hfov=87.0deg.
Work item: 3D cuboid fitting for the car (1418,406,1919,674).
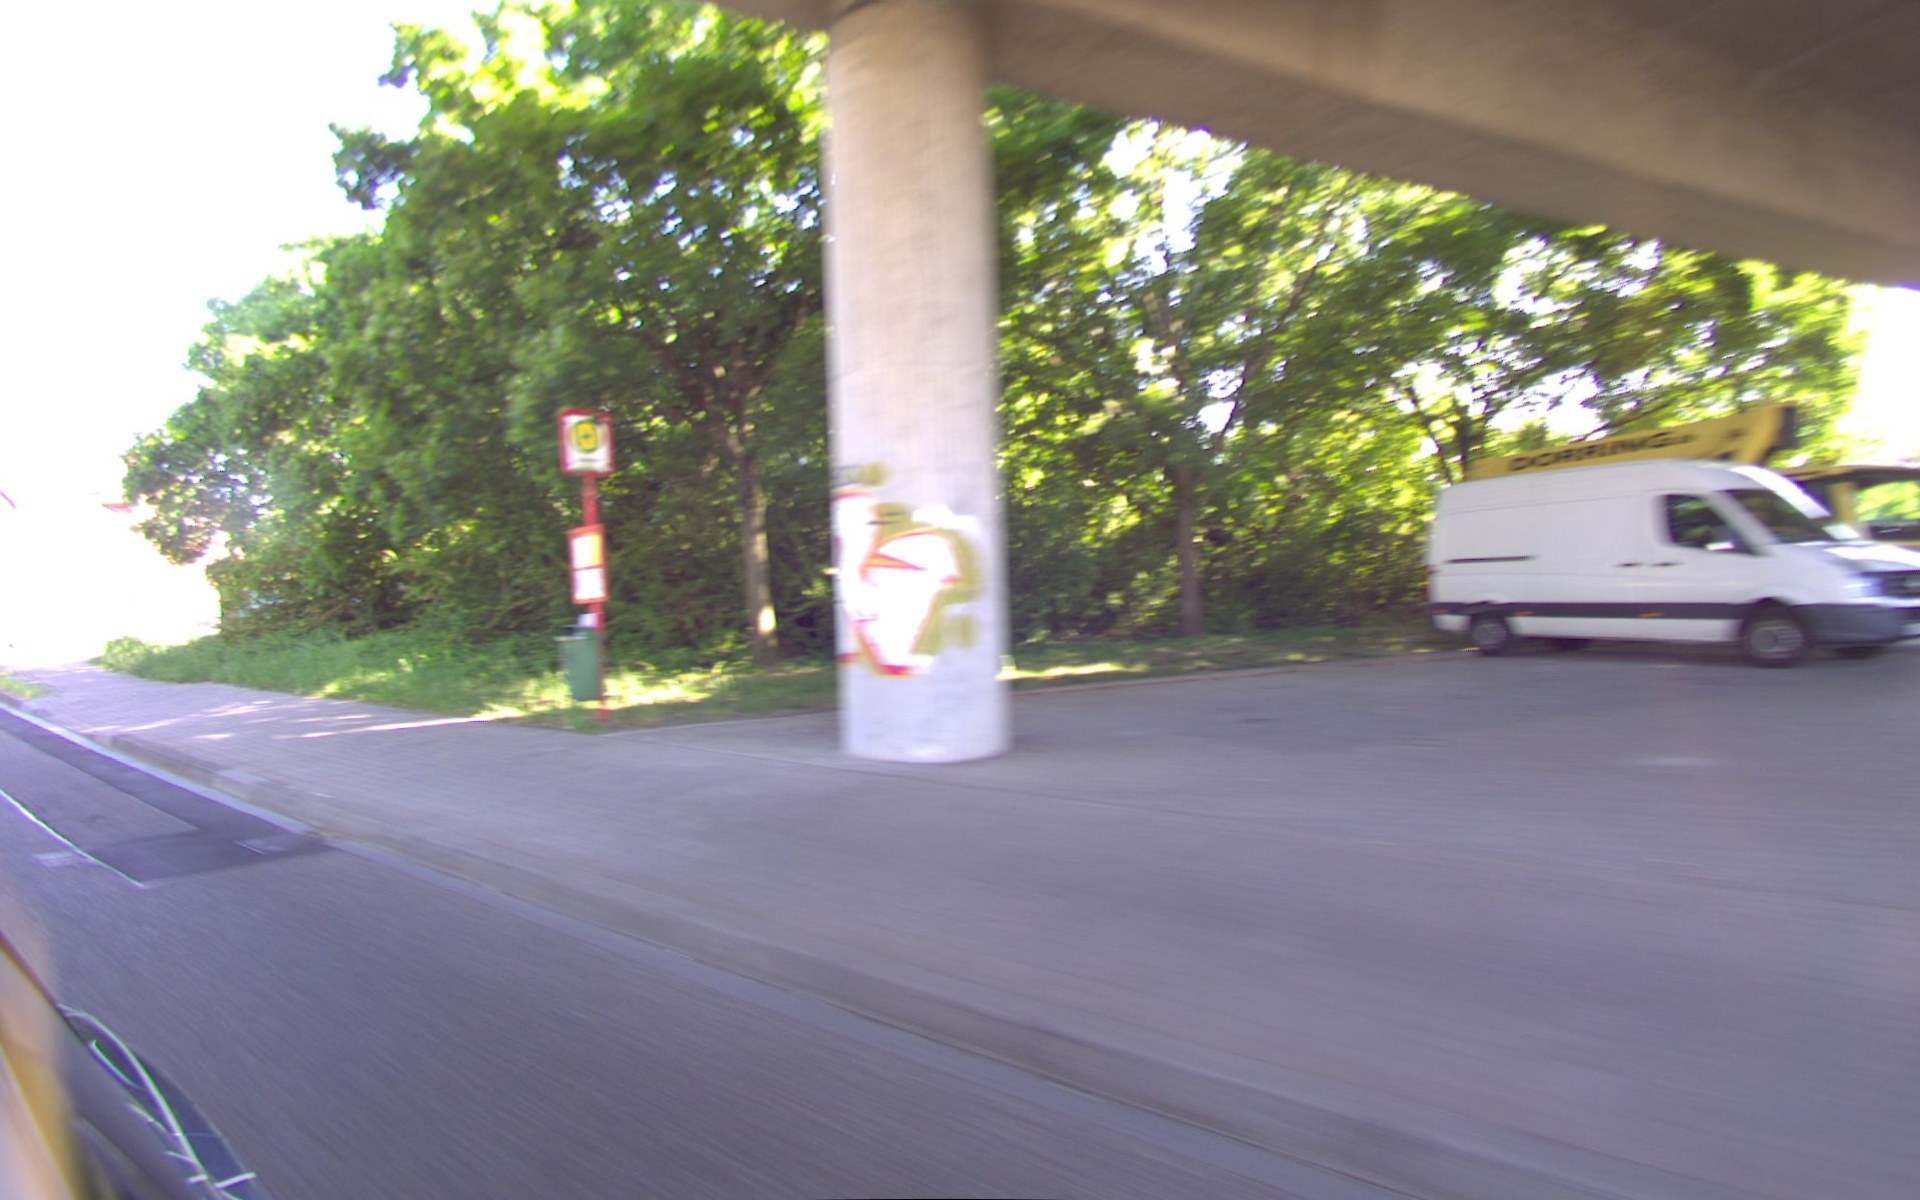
[{"bbox_3d":[9.250,-0.579,13.322,1.913,2.702,6.029,-2,0,-24],"label":"car"}]

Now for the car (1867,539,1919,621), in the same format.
[{"bbox_3d":[18.253,-0.377,16.938,1.710,1.453,4.264,-2,1,-18],"label":"car"}]

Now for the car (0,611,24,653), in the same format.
[{"bbox_3d":[-38.648,1.313,39.225,1.820,1.643,4.309,-2,1,-18],"label":"car"}]

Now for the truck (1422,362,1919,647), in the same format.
[{"bbox_3d":[11.701,-1.250,16.887,2.440,3.578,7.992,-2,1,-17],"label":"truck"}]
